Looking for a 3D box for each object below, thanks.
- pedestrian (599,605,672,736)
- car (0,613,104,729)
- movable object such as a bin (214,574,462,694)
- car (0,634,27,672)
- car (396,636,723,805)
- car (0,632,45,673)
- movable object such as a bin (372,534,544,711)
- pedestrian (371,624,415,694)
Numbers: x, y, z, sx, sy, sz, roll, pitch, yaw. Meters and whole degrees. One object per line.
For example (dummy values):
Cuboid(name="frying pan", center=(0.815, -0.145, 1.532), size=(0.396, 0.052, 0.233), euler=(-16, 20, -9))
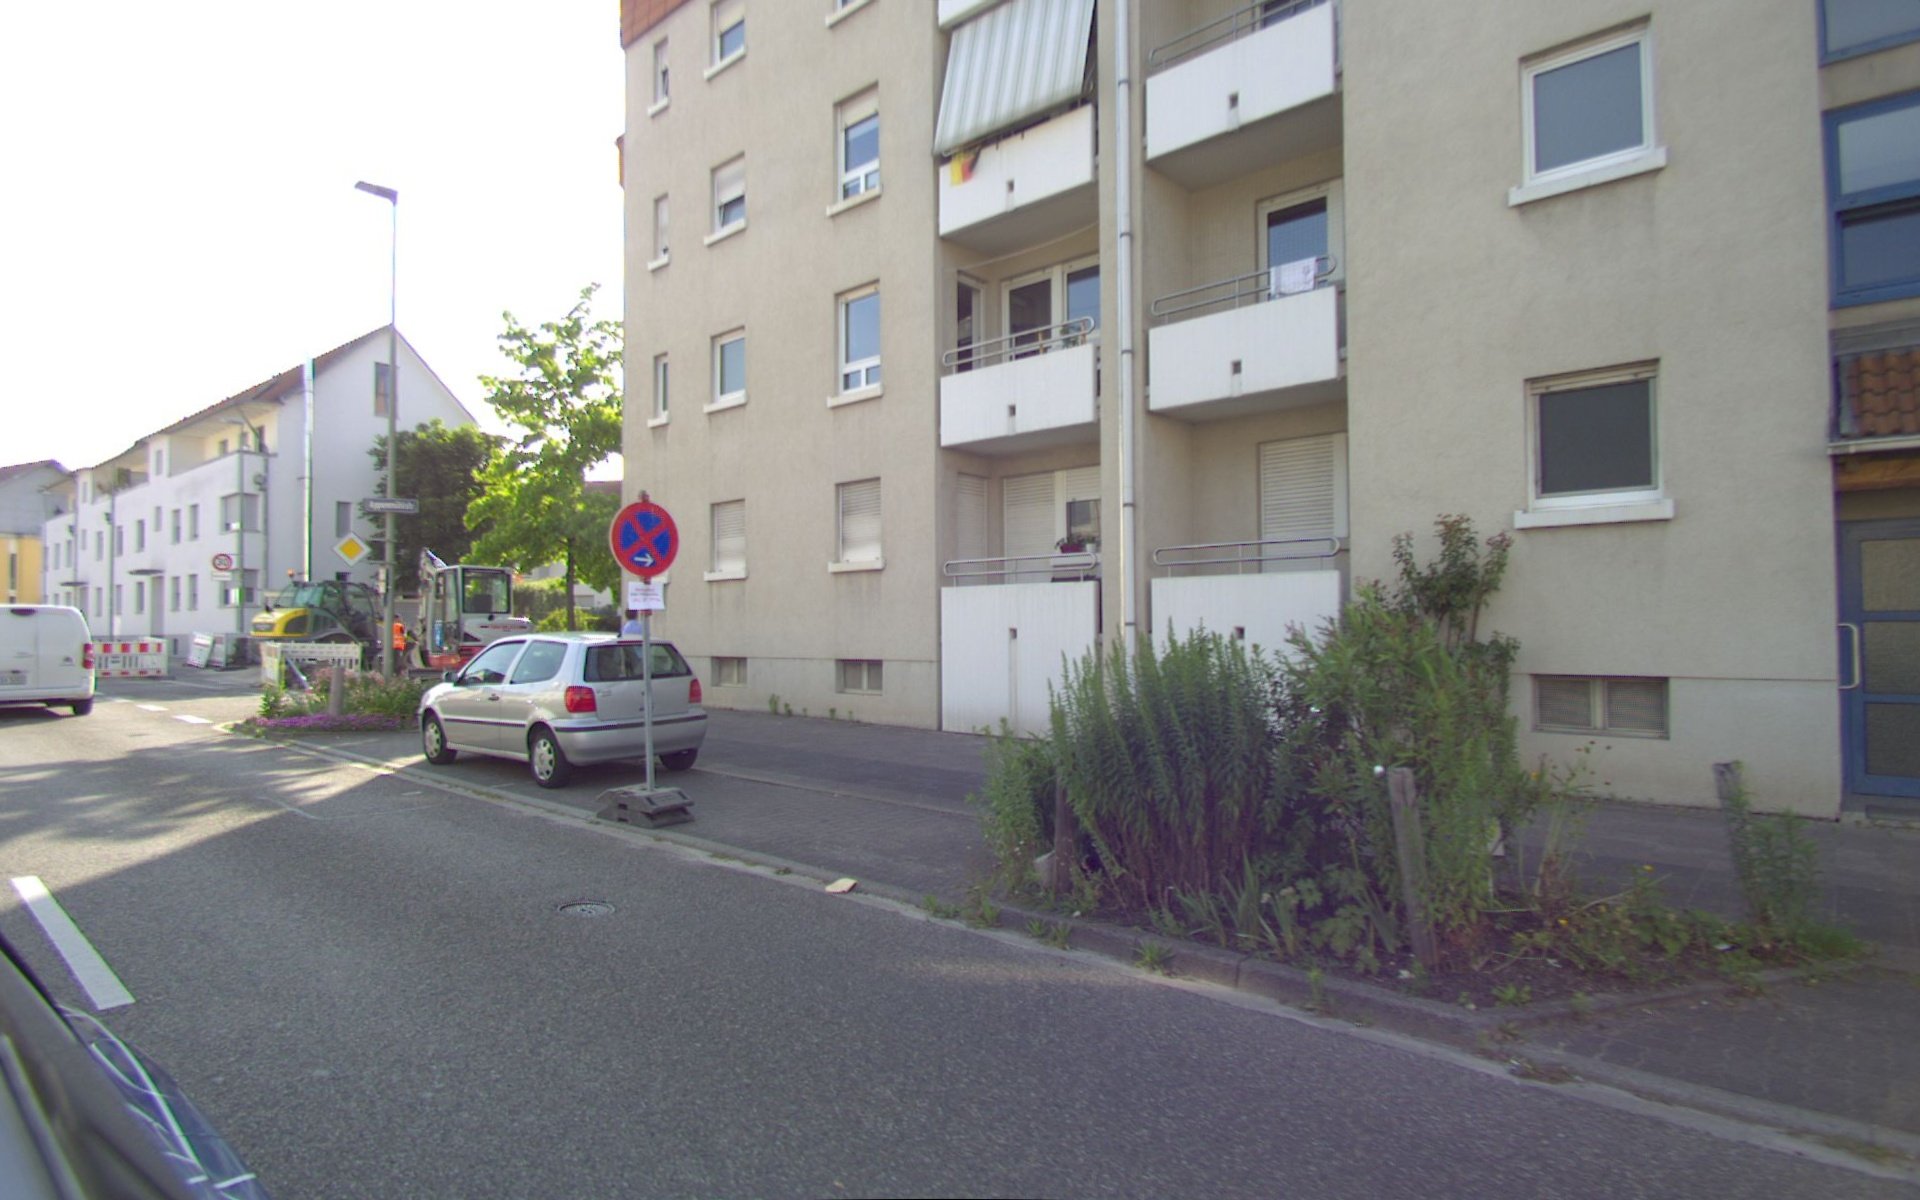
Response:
Cuboid(name="pedestrian", center=(-4.729, 0.999, 14.740), size=(0.745, 1.832, 0.711), euler=(-2, -2, 42))
Cuboid(name="car", center=(-16.238, 1.159, 17.175), size=(4.335, 1.780, 1.902), euler=(-2, -3, 41))
Cuboid(name="movable object such as a bin", center=(-16.810, 0.880, 27.693), size=(2.103, 2.922, 5.460), euler=(-2, -1, 29))
Cuboid(name="car", center=(-40.364, 2.188, 41.845), size=(4.252, 1.489, 1.713), euler=(-2, 0, 34))
Cuboid(name="car", center=(-4.253, 1.099, 10.512), size=(3.668, 1.406, 1.624), euler=(-2, -1, 40))
Cuboid(name="car", center=(-35.799, 1.928, 38.006), size=(3.508, 1.476, 1.479), euler=(-1, -2, 37))
Cuboid(name="movable object such as a bin", center=(-9.960, 0.480, 19.980), size=(3.897, 3.162, 1.631), euler=(-2, -3, 40))
Cuboid(name="pedestrian", center=(-14.037, 1.437, 25.067), size=(0.993, 1.677, 0.661), euler=(-2, -1, 42))
